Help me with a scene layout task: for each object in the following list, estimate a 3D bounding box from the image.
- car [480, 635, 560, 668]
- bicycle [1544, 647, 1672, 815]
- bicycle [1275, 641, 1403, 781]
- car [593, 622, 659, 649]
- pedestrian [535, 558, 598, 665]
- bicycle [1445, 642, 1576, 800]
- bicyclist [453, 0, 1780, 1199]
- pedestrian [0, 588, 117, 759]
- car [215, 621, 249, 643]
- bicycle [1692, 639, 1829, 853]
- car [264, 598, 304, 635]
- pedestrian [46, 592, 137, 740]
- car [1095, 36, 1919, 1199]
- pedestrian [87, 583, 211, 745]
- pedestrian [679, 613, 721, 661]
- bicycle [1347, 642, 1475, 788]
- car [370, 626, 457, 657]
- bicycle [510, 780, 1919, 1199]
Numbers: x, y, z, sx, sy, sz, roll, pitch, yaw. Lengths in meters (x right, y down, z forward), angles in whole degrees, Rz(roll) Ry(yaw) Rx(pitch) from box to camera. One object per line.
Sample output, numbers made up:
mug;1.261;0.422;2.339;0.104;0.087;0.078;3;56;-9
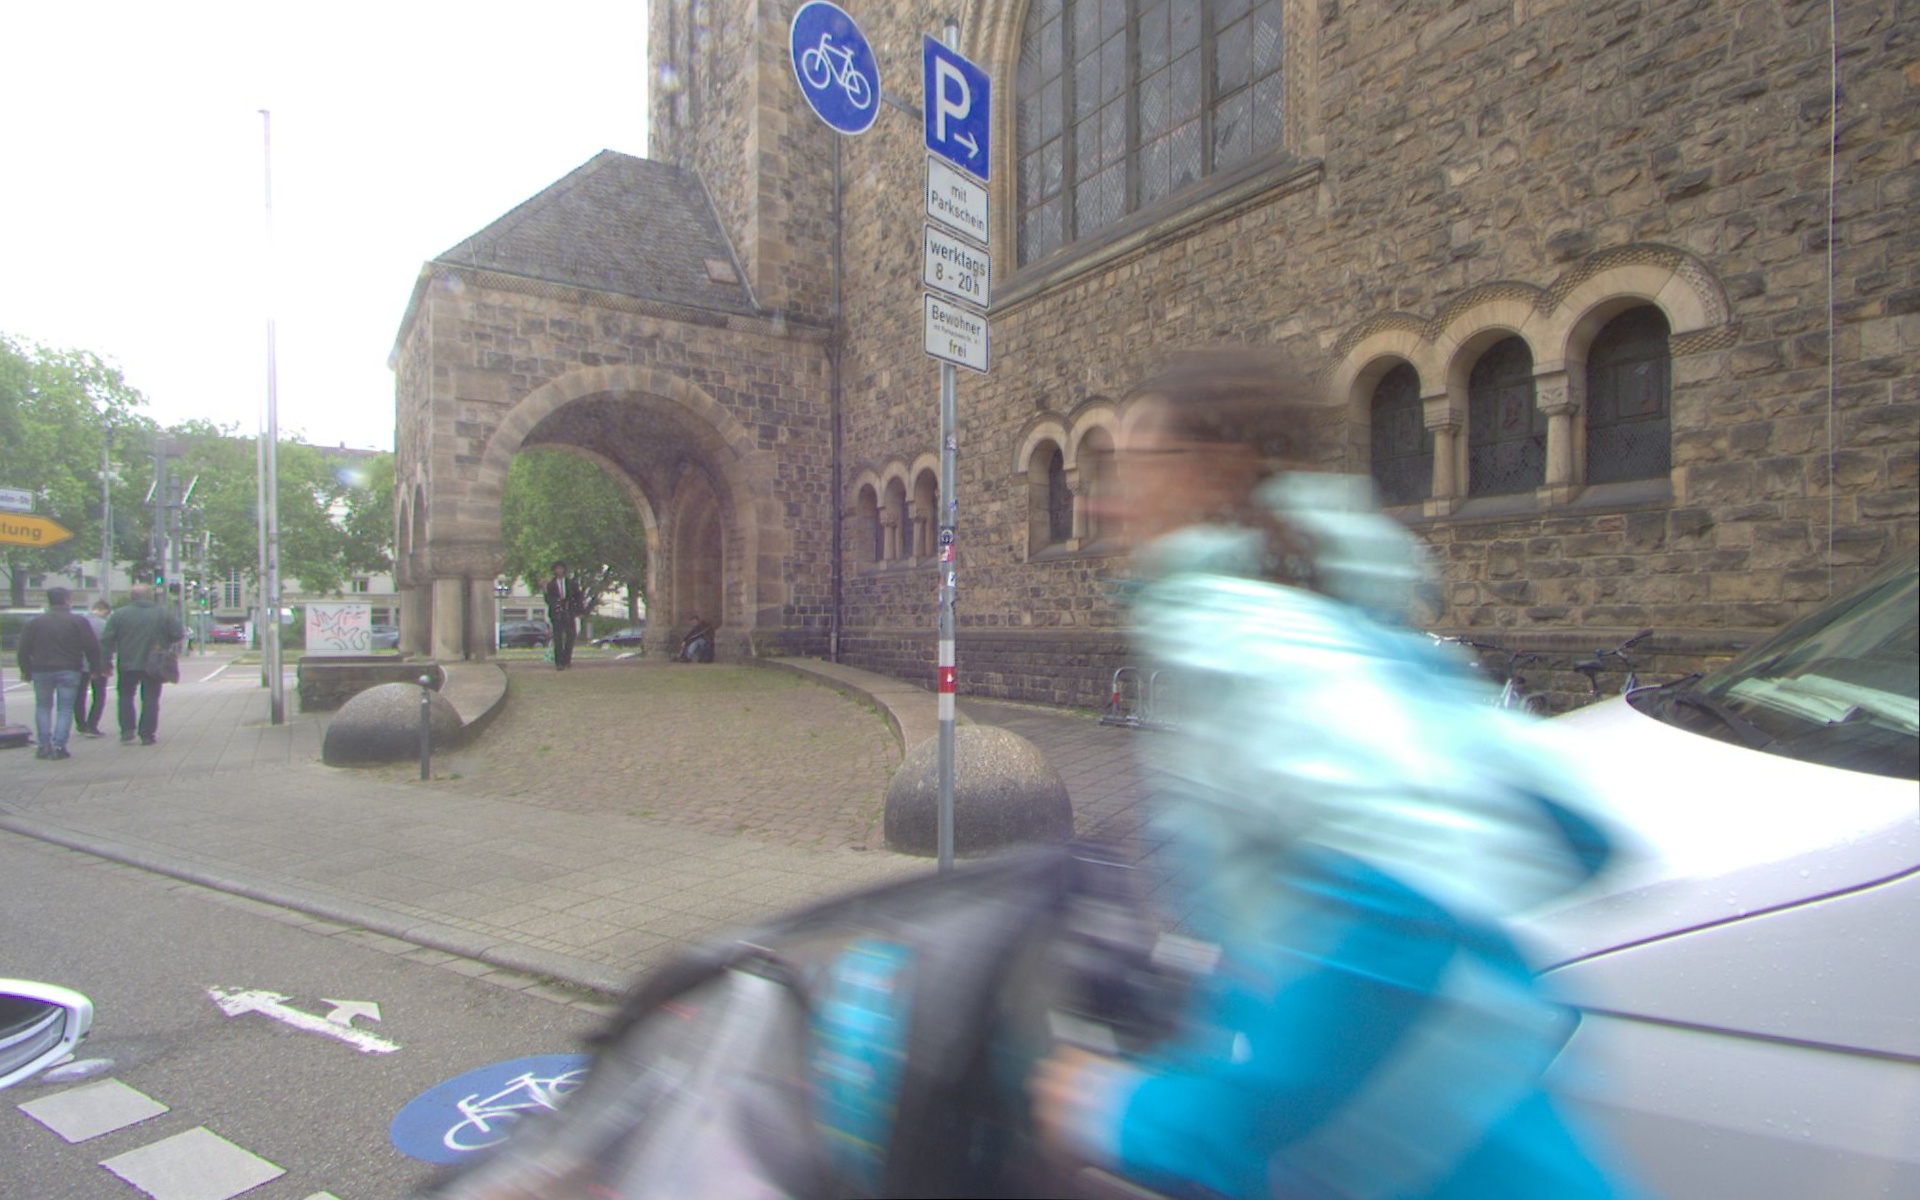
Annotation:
car;-24.859;2.879;56.575;3.899;1.733;1.676;1;-1;-35
bicycle;4.585;0.882;7.059;1.327;1.073;0.309;1;-1;-36
bicycle;3.188;0.890;8.373;1.366;1.073;0.309;1;-1;-36
car;-19.909;2.099;59.747;3.423;1.581;1.676;1;-1;-35
pedestrian;-6.972;0.211;17.743;0.806;1.832;1.012;0;0;-37
bicycle;4.135;0.863;7.489;1.366;1.073;0.309;1;-1;-36
bicyclist;0.062;0.574;0.944;0.681;1.537;1.047;0;-1;-45
pedestrian;-9.544;0.742;10.580;0.955;1.708;0.673;0;2;32
car;-51.489;2.244;70.865;1.647;1.535;3.916;1;-1;-31
bicycle;4.841;0.822;6.033;1.327;1.161;0.309;1;-1;-36
car;-50.537;1.273;74.983;2.211;2.673;5.417;1;-1;-31
pedestrian;-10.502;0.767;12.112;0.957;1.696;0.630;0;2;39
car;2.809;0.460;0.788;5.088;1.945;1.802;-1;-1;31
pedestrian;-9.354;0.701;11.561;0.955;1.782;0.802;0;2;32
pedestrian;-5.365;0.755;20.644;0.665;0.964;0.611;0;-1;-36
bicycle;3.628;0.882;8.016;1.366;1.073;0.309;1;-1;-36
car;-29.143;2.180;53.413;3.939;1.581;1.676;1;-1;-35
bicycle;0.203;0.874;0.927;0.490;1.112;2.119;0;-1;-43
